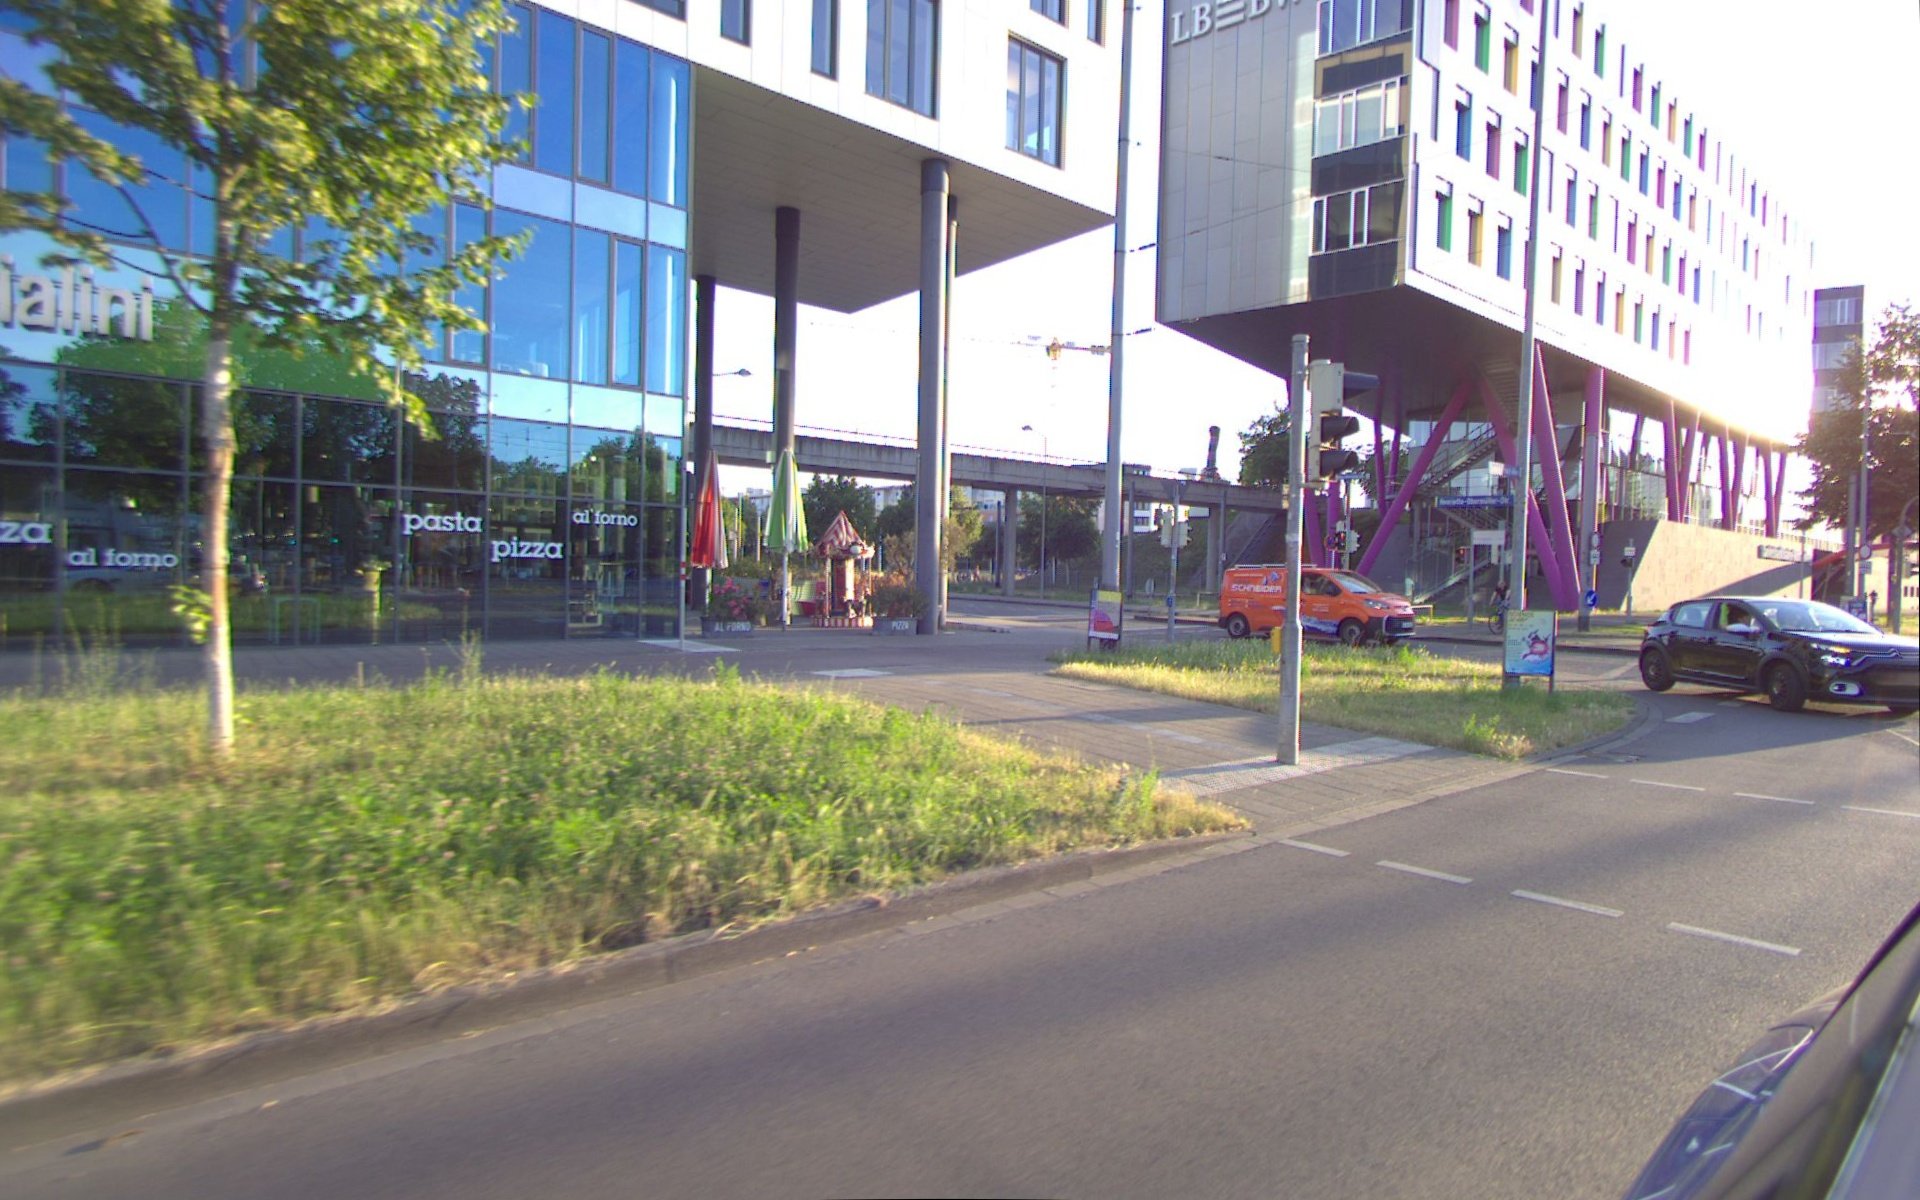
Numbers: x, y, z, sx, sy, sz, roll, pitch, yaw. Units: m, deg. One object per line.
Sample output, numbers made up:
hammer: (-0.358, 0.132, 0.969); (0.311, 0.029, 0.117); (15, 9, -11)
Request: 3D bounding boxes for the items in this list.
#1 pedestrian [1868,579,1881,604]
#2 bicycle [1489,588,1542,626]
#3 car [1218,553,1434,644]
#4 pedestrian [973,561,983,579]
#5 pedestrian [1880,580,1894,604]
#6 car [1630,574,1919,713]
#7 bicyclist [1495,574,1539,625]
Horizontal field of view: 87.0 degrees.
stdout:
pedestrian: (77.552, -0.728, 85.792); (0.797, 2.038, 0.618); (0, 3, -39)
bicycle: (18.488, 0.213, 33.668); (2.071, 1.222, 0.743); (0, 2, -36)
car: (9.054, -0.138, 25.432); (1.898, 2.015, 4.819); (-1, 3, -39)
pedestrian: (1.606, -2.722, 91.999); (0.764, 1.631, 0.417); (1, 2, -26)
pedestrian: (78.020, -0.683, 85.174); (0.797, 2.038, 0.618); (0, 3, -39)
car: (11.407, 0.473, 13.917); (1.728, 1.571, 4.071); (1, 2, 2)
bicyclist: (18.550, -0.020, 33.691); (1.264, 1.653, 0.807); (0, 2, -37)
